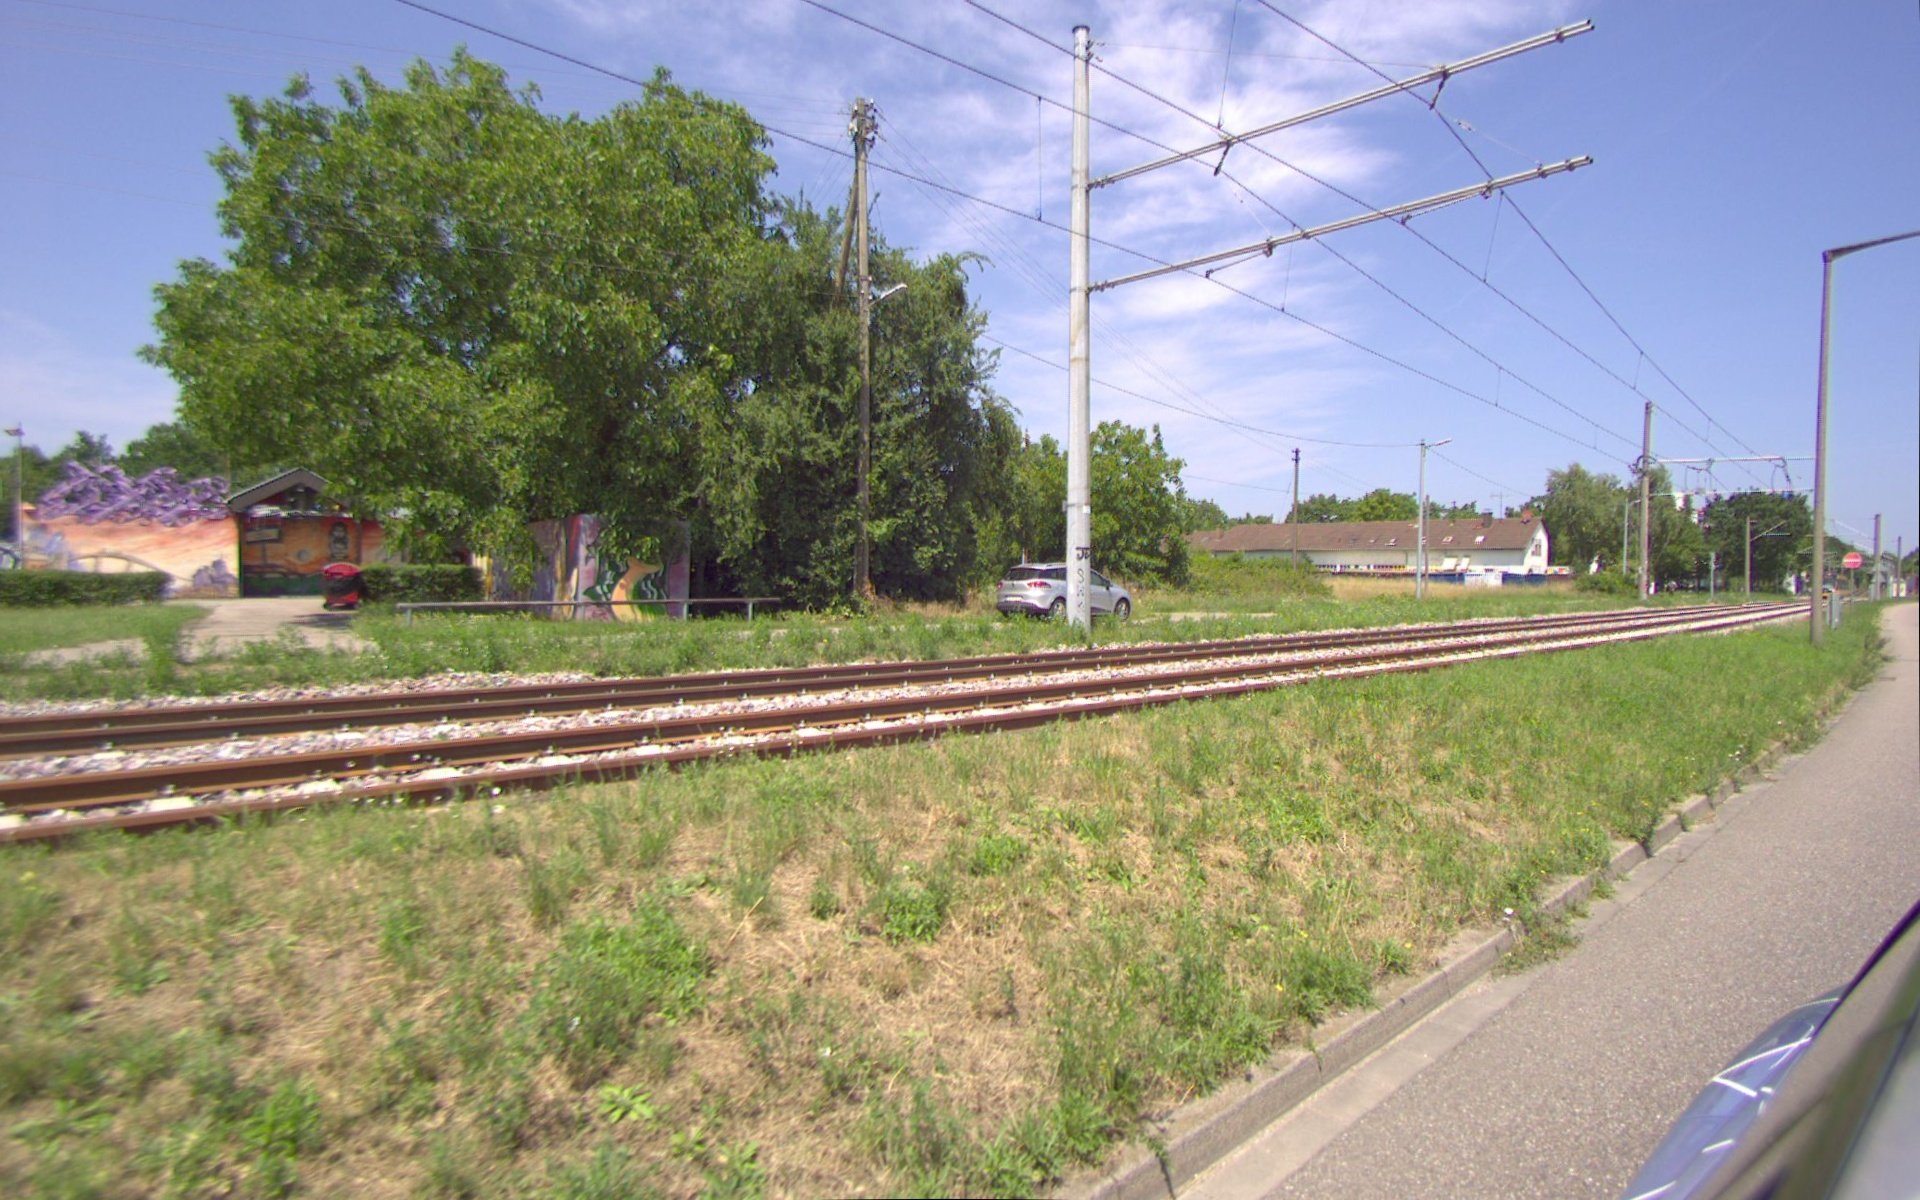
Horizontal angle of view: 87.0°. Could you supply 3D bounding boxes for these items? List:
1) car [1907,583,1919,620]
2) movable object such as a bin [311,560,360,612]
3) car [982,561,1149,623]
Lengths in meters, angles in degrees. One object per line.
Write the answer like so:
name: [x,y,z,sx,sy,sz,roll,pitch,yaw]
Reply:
car: [39.718,0.053,41.184,3.303,1.449,1.507,-2,3,-44]
movable object such as a bin: [-19.325,-0.452,31.357,1.225,1.592,0.920,-1,2,-30]
car: [2.739,-0.264,25.501,4.474,1.431,1.682,-2,3,-43]
